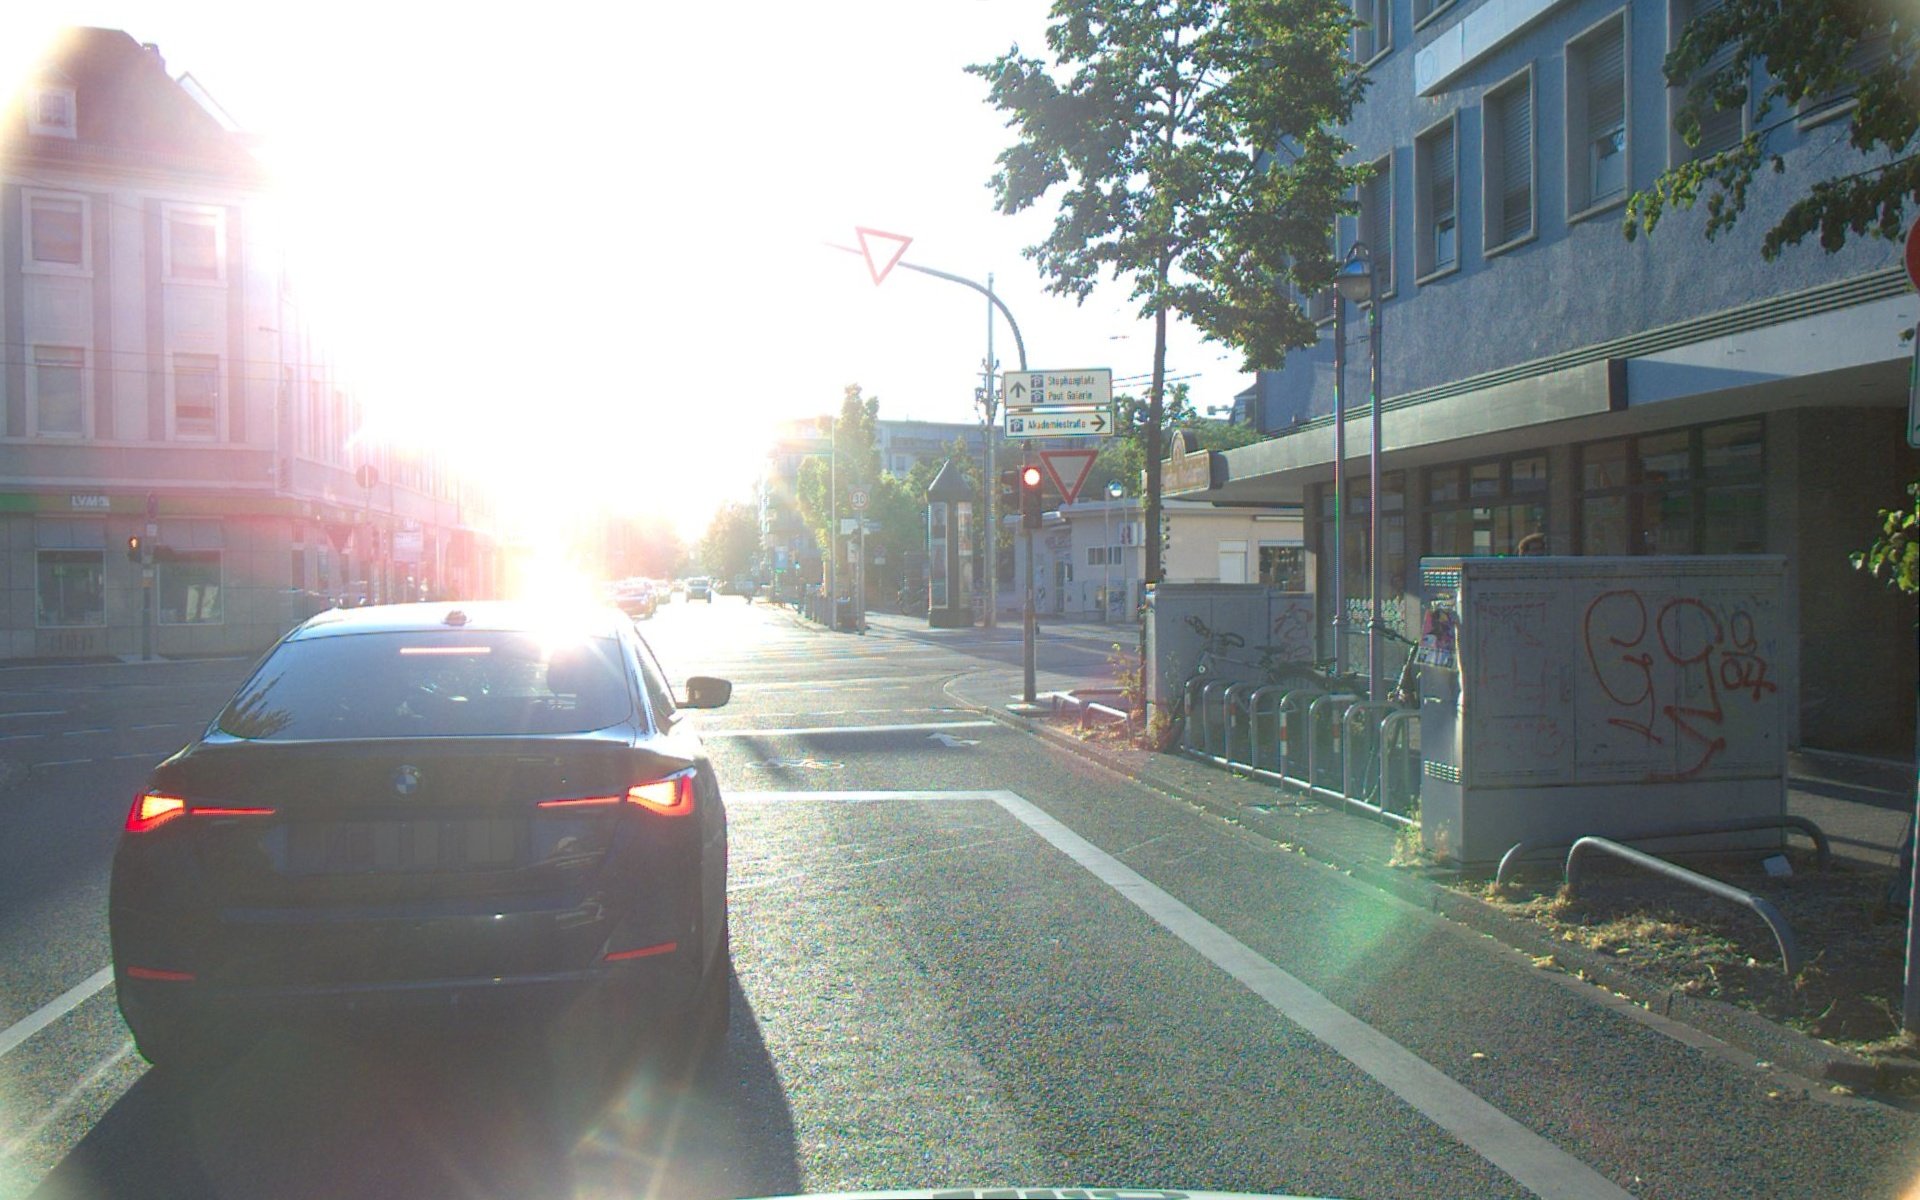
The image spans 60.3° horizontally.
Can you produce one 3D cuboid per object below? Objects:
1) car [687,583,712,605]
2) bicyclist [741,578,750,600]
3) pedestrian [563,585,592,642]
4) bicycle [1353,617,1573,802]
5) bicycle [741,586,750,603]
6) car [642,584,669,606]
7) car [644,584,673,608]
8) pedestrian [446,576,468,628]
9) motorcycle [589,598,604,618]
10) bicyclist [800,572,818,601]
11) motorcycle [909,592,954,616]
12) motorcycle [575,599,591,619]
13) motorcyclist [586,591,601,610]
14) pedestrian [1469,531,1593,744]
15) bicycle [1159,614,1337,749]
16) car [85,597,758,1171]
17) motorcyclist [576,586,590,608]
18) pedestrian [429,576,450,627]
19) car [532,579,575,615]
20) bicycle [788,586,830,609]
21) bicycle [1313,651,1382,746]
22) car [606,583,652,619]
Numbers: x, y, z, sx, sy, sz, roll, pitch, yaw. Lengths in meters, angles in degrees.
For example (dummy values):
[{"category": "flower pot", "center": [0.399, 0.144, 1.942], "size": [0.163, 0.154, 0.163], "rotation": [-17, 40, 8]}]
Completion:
[{"category": "car", "center": [-19.465, -0.467, 123.587], "size": [1.784, 1.545, 3.992], "rotation": [-1, 1, -9]}, {"category": "bicyclist", "center": [-14.937, -0.749, 115.131], "size": [0.540, 1.507, 0.721], "rotation": [1, 0, -10]}, {"category": "pedestrian", "center": [-10.474, 0.372, 45.277], "size": [0.720, 1.555, 0.471], "rotation": [1, 0, -15]}, {"category": "bicycle", "center": [3.472, 0.754, 11.447], "size": [1.413, 1.241, 0.383], "rotation": [1, 0, -8]}, {"category": "bicycle", "center": [-14.932, -0.350, 115.081], "size": [0.540, 1.179, 2.139], "rotation": [1, 0, -10]}, {"category": "car", "center": [-22.575, -0.368, 122.824], "size": [1.784, 1.545, 3.992], "rotation": [-1, 1, -9]}, {"category": "car", "center": [-20.690, -0.290, 113.696], "size": [1.784, 1.545, 3.992], "rotation": [-1, 1, -9]}, {"category": "pedestrian", "center": [-18.777, 0.064, 61.734], "size": [0.664, 1.909, 0.616], "rotation": [1, 0, -9]}, {"category": "motorcycle", "center": [-17.971, 0.390, 81.853], "size": [0.564, 0.931, 2.196], "rotation": [1, 0, -8]}, {"category": "bicyclist", "center": [-8.125, -0.723, 88.849], "size": [0.865, 1.532, 0.612], "rotation": [1, 0, 3]}, {"category": "motorcycle", "center": [-1.168, 0.171, 67.819], "size": [1.644, 0.955, 0.851], "rotation": [-1, 1, -20]}, {"category": "motorcycle", "center": [-17.699, 0.413, 77.612], "size": [0.564, 0.931, 2.196], "rotation": [1, 0, -8]}, {"category": "motorcyclist", "center": [-18.072, 0.016, 81.550], "size": [0.564, 0.931, 2.196], "rotation": [1, 0, -8]}, {"category": "pedestrian", "center": [5.182, 0.323, 15.037], "size": [0.820, 1.874, 0.677], "rotation": [-1, 0, -9]}, {"category": "bicycle", "center": [2.646, 0.738, 15.195], "size": [1.582, 1.191, 0.318], "rotation": [-1, 0, -7]}, {"category": "car", "center": [-1.749, 0.726, 6.466], "size": [1.705, 1.453, 4.214], "rotation": [0, 0, -10]}, {"category": "motorcyclist", "center": [-17.657, -0.126, 77.410], "size": [0.564, 1.013, 0.701], "rotation": [1, 0, -9]}, {"category": "pedestrian", "center": [-19.535, 0.049, 62.131], "size": [0.631, 1.909, 0.630], "rotation": [1, 0, -9]}, {"category": "car", "center": [-21.314, -0.173, 86.749], "size": [1.784, 1.819, 3.992], "rotation": [-1, 1, -9]}, {"category": "bicycle", "center": [-8.130, -0.125, 88.853], "size": [2.166, 1.223, 0.620], "rotation": [1, 0, 2]}, {"category": "bicycle", "center": [3.585, 0.901, 15.344], "size": [0.245, 0.810, 1.114], "rotation": [1, 0, -7]}, {"category": "car", "center": [-14.920, 0.006, 74.728], "size": [1.784, 1.545, 3.992], "rotation": [-1, 1, -9]}]
